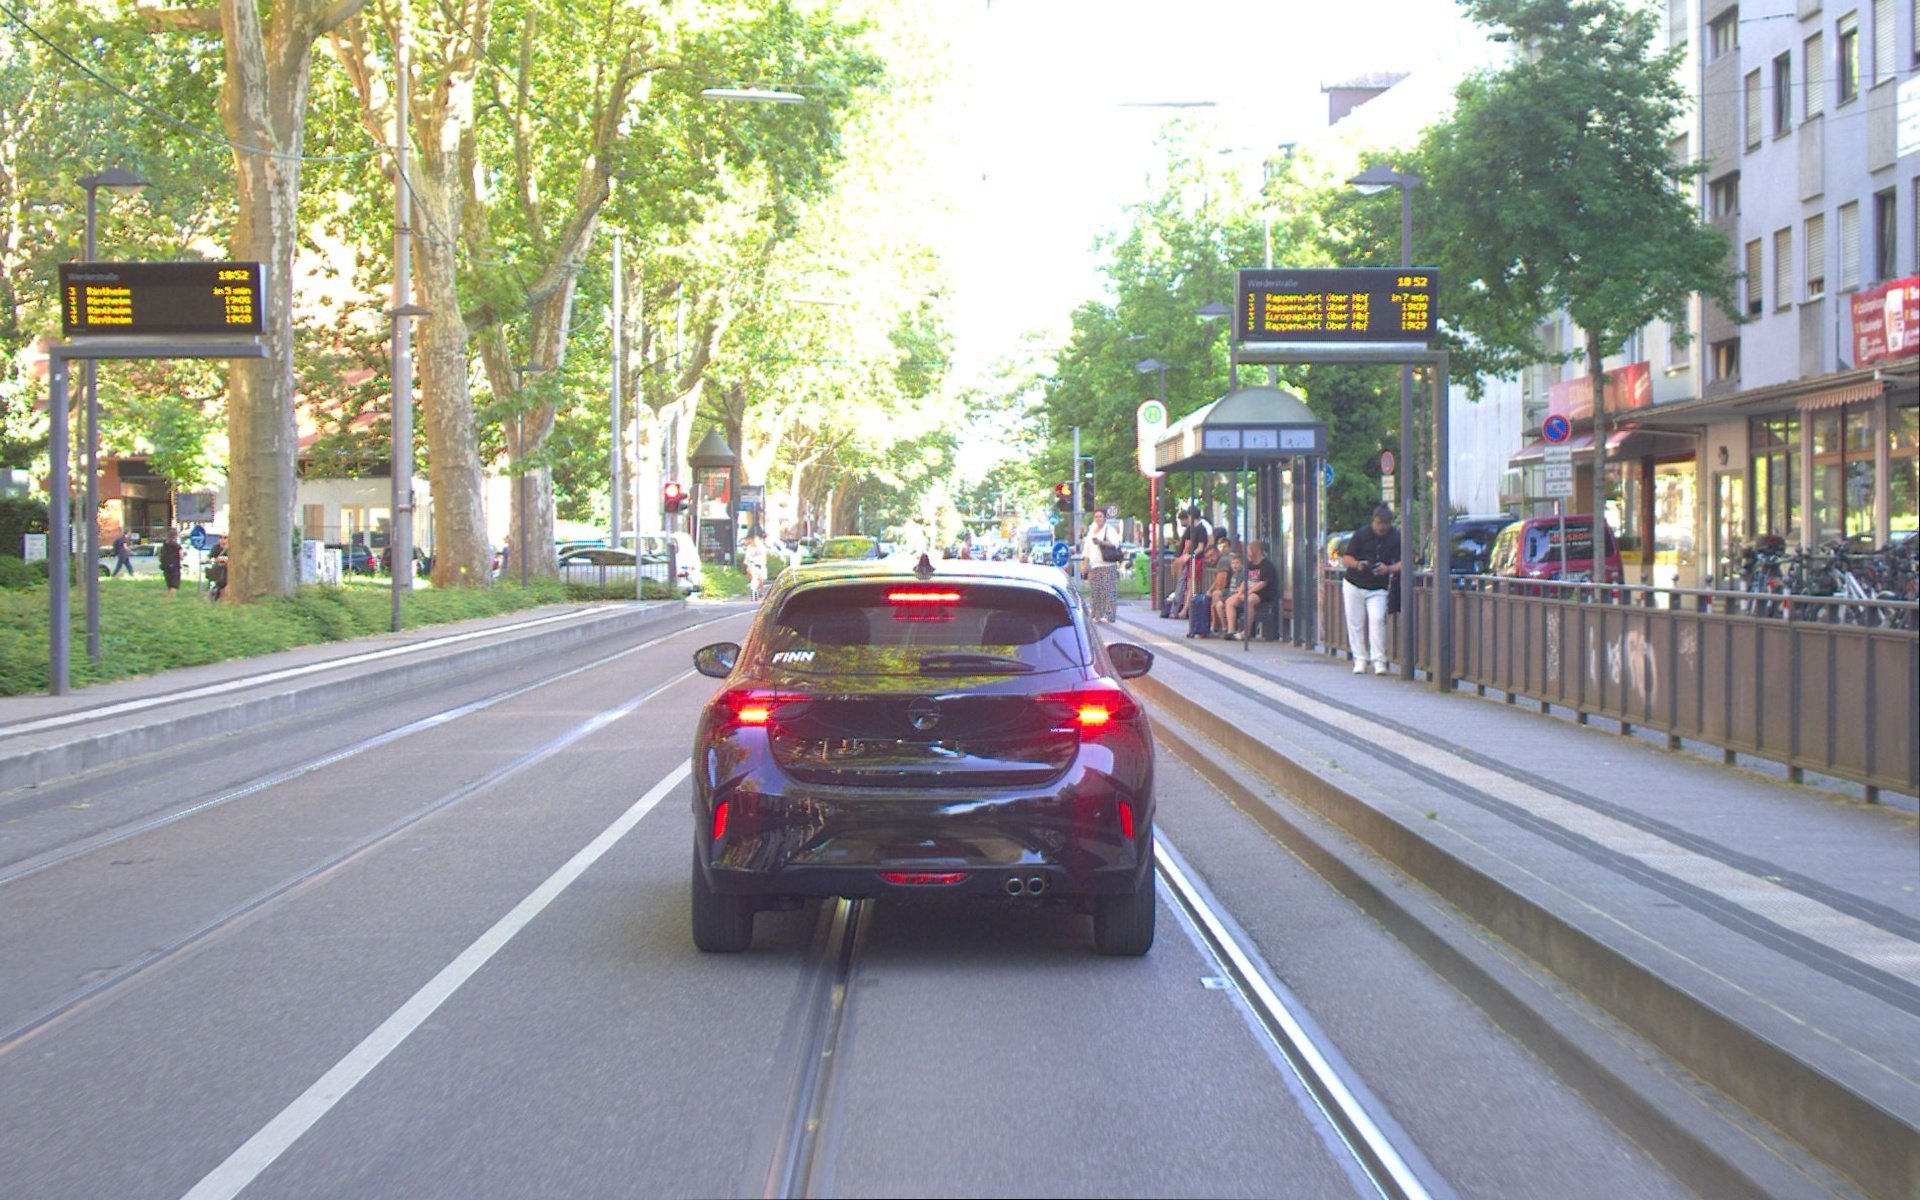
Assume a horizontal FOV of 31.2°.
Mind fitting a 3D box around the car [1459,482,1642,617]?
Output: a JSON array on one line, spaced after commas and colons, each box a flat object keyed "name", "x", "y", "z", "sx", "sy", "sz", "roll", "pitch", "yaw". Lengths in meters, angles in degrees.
[{"name": "car", "x": 8.966, "y": -0.763, "z": 52.486, "sx": 1.993, "sy": 1.946, "sz": 4.000, "roll": 1, "pitch": 1, "yaw": -1}]

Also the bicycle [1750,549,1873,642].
[{"name": "bicycle", "x": 10.685, "y": -0.067, "z": 43.224, "sx": 0.597, "sy": 1.132, "sz": 2.205, "roll": 1, "pitch": 1, "yaw": -12}]

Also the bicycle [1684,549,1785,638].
[{"name": "bicycle", "x": 10.250, "y": -0.096, "z": 45.573, "sx": 0.597, "sy": 1.132, "sz": 2.204, "roll": 1, "pitch": 1, "yaw": -6}]

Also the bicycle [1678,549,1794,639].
[{"name": "bicycle", "x": 9.966, "y": -0.087, "z": 44.234, "sx": 0.597, "sy": 1.132, "sz": 2.205, "roll": 1, "pitch": 1, "yaw": -12}]

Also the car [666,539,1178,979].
[{"name": "car", "x": -0.213, "y": 0.530, "z": 13.732, "sx": 1.759, "sy": 1.503, "sz": 3.683, "roll": -1, "pitch": 1, "yaw": -3}]

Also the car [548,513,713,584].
[{"name": "car", "x": -8.995, "y": -1.396, "z": 93.696, "sx": 4.383, "sy": 1.845, "sz": 2.000, "roll": 1, "pitch": 0, "yaw": -7}]

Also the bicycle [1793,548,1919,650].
[{"name": "bicycle", "x": 10.473, "y": -0.027, "z": 39.354, "sx": 0.611, "sy": 1.132, "sz": 2.922, "roll": 1, "pitch": 1, "yaw": -12}]

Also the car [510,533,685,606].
[{"name": "car", "x": -8.719, "y": -0.736, "z": 82.618, "sx": 4.113, "sy": 1.695, "sz": 1.884, "roll": 1, "pitch": 0, "yaw": -7}]

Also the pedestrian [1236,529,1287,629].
[{"name": "pedestrian", "x": 3.728, "y": -0.264, "z": 42.537, "sx": 0.534, "sy": 1.226, "sz": 0.510, "roll": 1, "pitch": 0, "yaw": -4}]

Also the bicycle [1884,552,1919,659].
[{"name": "bicycle", "x": 10.465, "y": 0.067, "z": 35.719, "sx": 0.621, "sy": 1.132, "sz": 2.440, "roll": 1, "pitch": 1, "yaw": -12}]

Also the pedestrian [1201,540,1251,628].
[{"name": "pedestrian", "x": 3.327, "y": -0.201, "z": 43.083, "sx": 0.534, "sy": 1.096, "sz": 0.551, "roll": 1, "pitch": 0, "yaw": -4}]

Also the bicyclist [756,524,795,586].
[{"name": "bicyclist", "x": -5.105, "y": -1.257, "z": 95.334, "sx": 0.941, "sy": 1.697, "sz": 1.153, "roll": 1, "pitch": 0, "yaw": 3}]

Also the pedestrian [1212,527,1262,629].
[{"name": "pedestrian", "x": 3.559, "y": -0.283, "z": 44.192, "sx": 0.534, "sy": 1.300, "sz": 0.551, "roll": 1, "pitch": 0, "yaw": -4}]

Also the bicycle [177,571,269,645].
[{"name": "bicycle", "x": -12.767, "y": 0.119, "z": 59.668, "sx": 0.955, "sy": 1.236, "sz": 2.978, "roll": 1, "pitch": 1, "yaw": 0}]

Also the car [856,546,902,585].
[{"name": "car", "x": -3.611, "y": -1.534, "z": 152.923, "sx": 1.993, "sy": 1.687, "sz": 4.000, "roll": 1, "pitch": 1, "yaw": -2}]

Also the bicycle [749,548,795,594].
[{"name": "bicycle", "x": -5.158, "y": -0.789, "z": 94.445, "sx": 0.955, "sy": 1.236, "sz": 2.977, "roll": 1, "pitch": 1, "yaw": 3}]

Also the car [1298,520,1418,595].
[{"name": "car", "x": 8.216, "y": -0.880, "z": 71.273, "sx": 1.993, "sy": 1.481, "sz": 4.000, "roll": 1, "pitch": 1, "yaw": 0}]

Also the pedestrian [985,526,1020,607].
[{"name": "pedestrian", "x": 1.064, "y": -0.842, "z": 85.849, "sx": 0.675, "sy": 2.007, "sz": 0.701, "roll": 2, "pitch": 1, "yaw": 11}]

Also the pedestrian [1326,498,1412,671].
[{"name": "pedestrian", "x": 3.803, "y": -0.150, "z": 32.032, "sx": 0.630, "sy": 1.571, "sz": 0.871, "roll": 2, "pitch": 1, "yaw": 0}]

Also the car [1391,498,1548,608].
[{"name": "car", "x": 8.702, "y": -0.798, "z": 58.977, "sx": 1.993, "sy": 1.791, "sz": 4.000, "roll": 1, "pitch": 1, "yaw": -1}]

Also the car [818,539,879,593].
[{"name": "car", "x": -3.346, "y": -1.016, "z": 102.911, "sx": 1.745, "sy": 1.539, "sz": 4.000, "roll": 1, "pitch": 1, "yaw": -2}]

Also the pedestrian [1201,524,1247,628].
[{"name": "pedestrian", "x": 3.349, "y": -0.303, "z": 43.616, "sx": 0.502, "sy": 1.300, "sz": 0.429, "roll": 1, "pitch": 0, "yaw": -4}]

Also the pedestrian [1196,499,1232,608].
[{"name": "pedestrian", "x": 4.125, "y": -0.749, "z": 55.806, "sx": 0.531, "sy": 1.757, "sz": 0.661, "roll": 1, "pitch": 0, "yaw": 2}]

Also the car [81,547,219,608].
[{"name": "car", "x": -27.786, "y": -0.778, "z": 118.063, "sx": 4.250, "sy": 2.007, "sz": 2.000, "roll": 1, "pitch": 0, "yaw": 0}]

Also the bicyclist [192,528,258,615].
[{"name": "bicyclist", "x": -12.762, "y": -0.500, "z": 59.704, "sx": 0.955, "sy": 1.486, "sz": 0.838, "roll": 1, "pitch": 0, "yaw": 0}]

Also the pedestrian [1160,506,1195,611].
[{"name": "pedestrian", "x": 3.578, "y": -0.683, "z": 56.531, "sx": 0.531, "sy": 1.703, "sz": 0.596, "roll": 1, "pitch": 0, "yaw": 2}]

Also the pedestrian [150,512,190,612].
[{"name": "pedestrian", "x": -15.447, "y": -0.747, "z": 67.219, "sx": 0.496, "sy": 1.943, "sz": 0.674, "roll": 1, "pitch": 0, "yaw": 12}]

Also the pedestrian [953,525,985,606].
[{"name": "pedestrian", "x": 0.237, "y": -0.861, "z": 86.140, "sx": 0.675, "sy": 2.007, "sz": 0.701, "roll": 2, "pitch": 1, "yaw": 6}]

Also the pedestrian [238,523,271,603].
[{"name": "pedestrian", "x": -17.241, "y": -0.907, "z": 83.988, "sx": 0.672, "sy": 1.943, "sz": 0.498, "roll": 2, "pitch": 1, "yaw": -4}]

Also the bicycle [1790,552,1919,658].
[{"name": "bicycle", "x": 10.027, "y": 0.044, "z": 38.156, "sx": 0.602, "sy": 1.132, "sz": 2.435, "roll": 1, "pitch": 1, "yaw": -12}]

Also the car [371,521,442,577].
[{"name": "car", "x": -20.332, "y": -1.853, "z": 126.397, "sx": 1.993, "sy": 2.007, "sz": 4.000, "roll": 1, "pitch": 1, "yaw": 0}]

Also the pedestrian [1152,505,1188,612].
[{"name": "pedestrian", "x": 3.365, "y": -0.664, "z": 55.100, "sx": 0.531, "sy": 1.703, "sz": 0.752, "roll": 1, "pitch": 0, "yaw": 2}]

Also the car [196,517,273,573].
[{"name": "car", "x": -26.497, "y": -1.990, "z": 125.671, "sx": 1.993, "sy": 2.007, "sz": 4.000, "roll": 1, "pitch": 1, "yaw": 0}]

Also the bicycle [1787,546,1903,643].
[{"name": "bicycle", "x": 10.629, "y": -0.077, "z": 41.375, "sx": 0.410, "sy": 1.132, "sz": 2.205, "roll": 1, "pitch": 1, "yaw": -12}]

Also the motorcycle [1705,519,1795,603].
[{"name": "motorcycle", "x": 12.212, "y": -0.604, "z": 53.219, "sx": 0.892, "sy": 1.276, "sz": 2.043, "roll": 1, "pitch": 1, "yaw": 0}]

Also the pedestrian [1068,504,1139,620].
[{"name": "pedestrian", "x": 2.135, "y": -0.568, "z": 51.046, "sx": 0.751, "sy": 1.703, "sz": 0.762, "roll": 1, "pitch": 0, "yaw": 34}]
